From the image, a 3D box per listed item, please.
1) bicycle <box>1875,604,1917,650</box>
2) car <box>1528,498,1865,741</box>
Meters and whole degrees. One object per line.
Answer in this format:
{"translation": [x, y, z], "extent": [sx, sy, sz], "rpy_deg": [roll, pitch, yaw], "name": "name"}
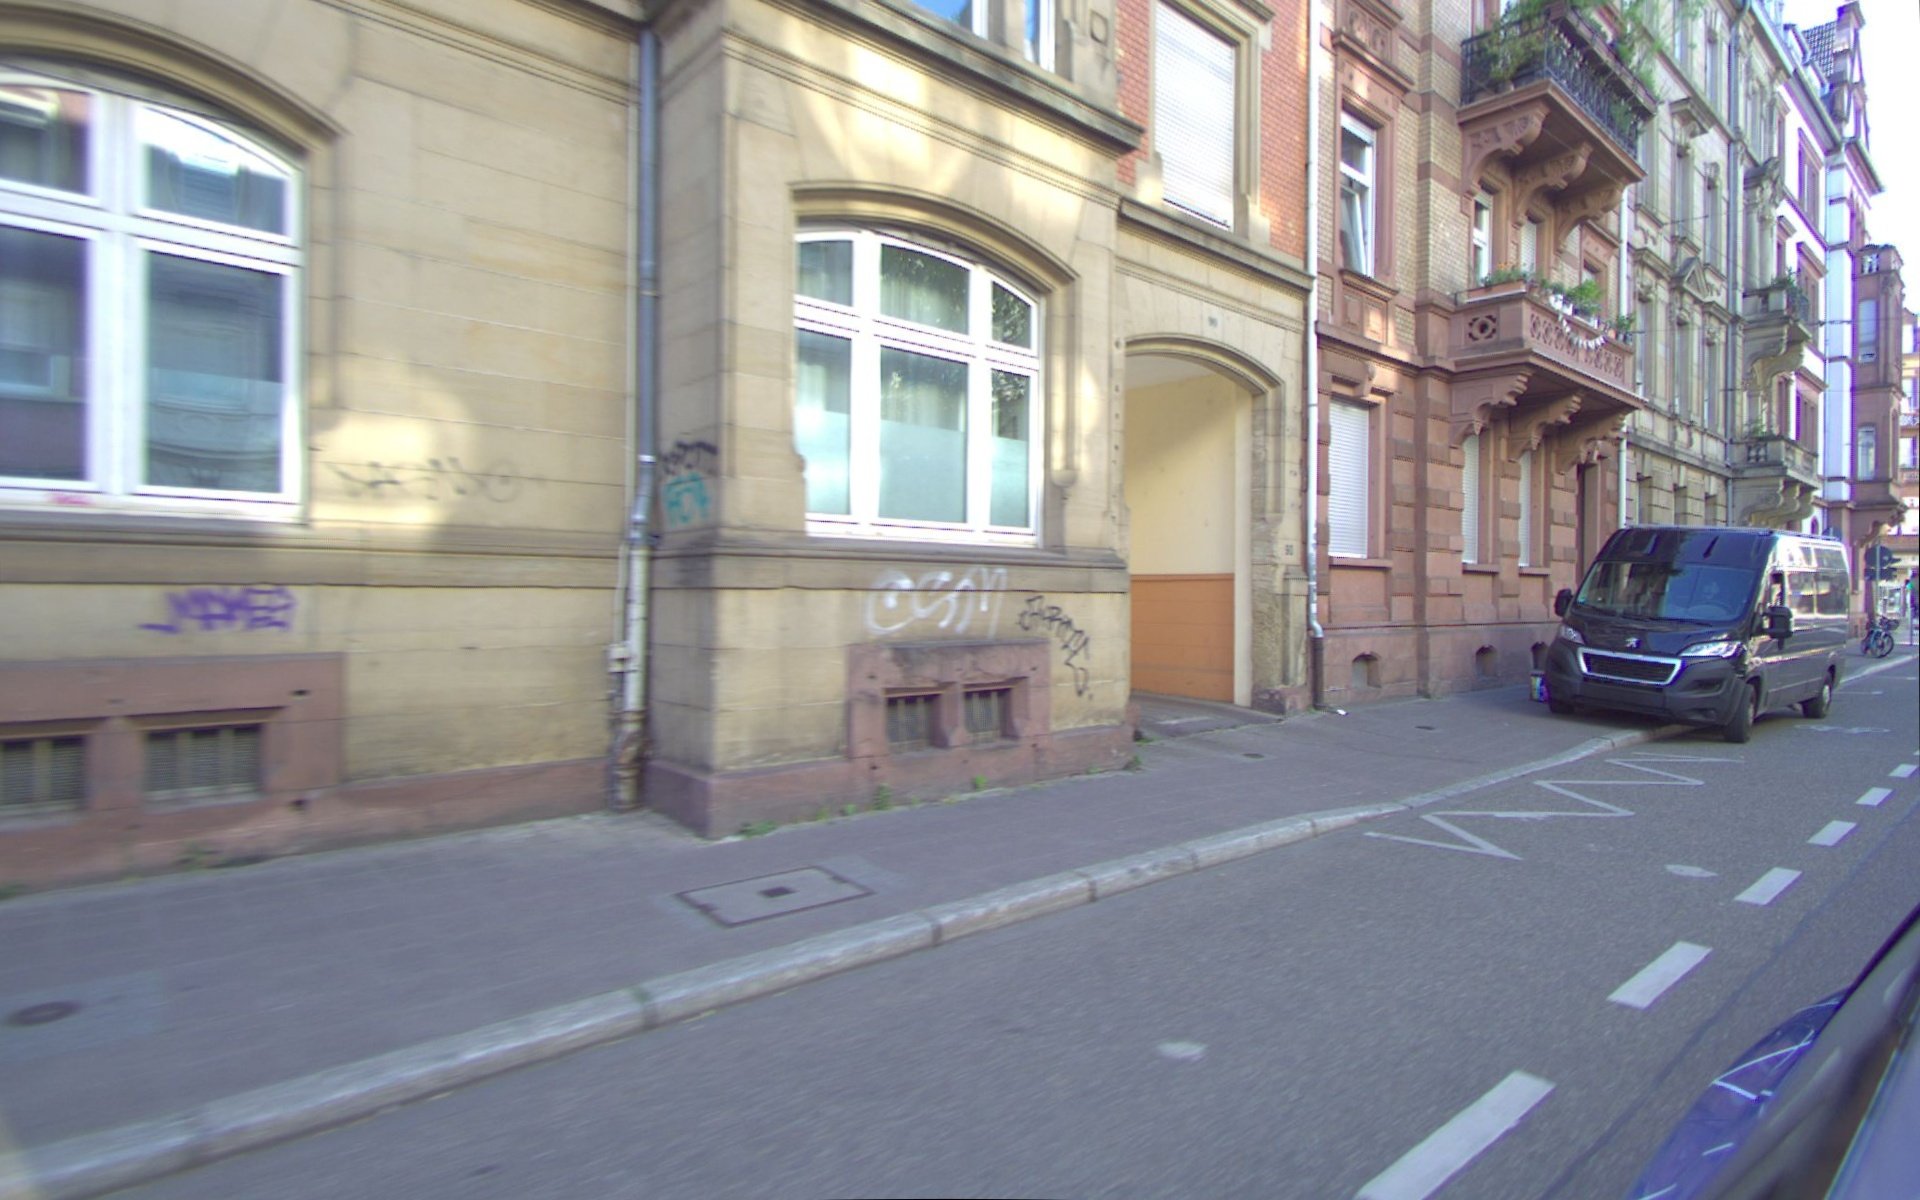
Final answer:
{"translation": [24.996, 0.705, 27.018], "extent": [1.659, 1.164, 0.647], "rpy_deg": [0, 1, -41], "name": "bicycle"}
{"translation": [9.744, 0.172, 13.160], "extent": [5.751, 2.524, 2.128], "rpy_deg": [-1, 0, -39], "name": "car"}
